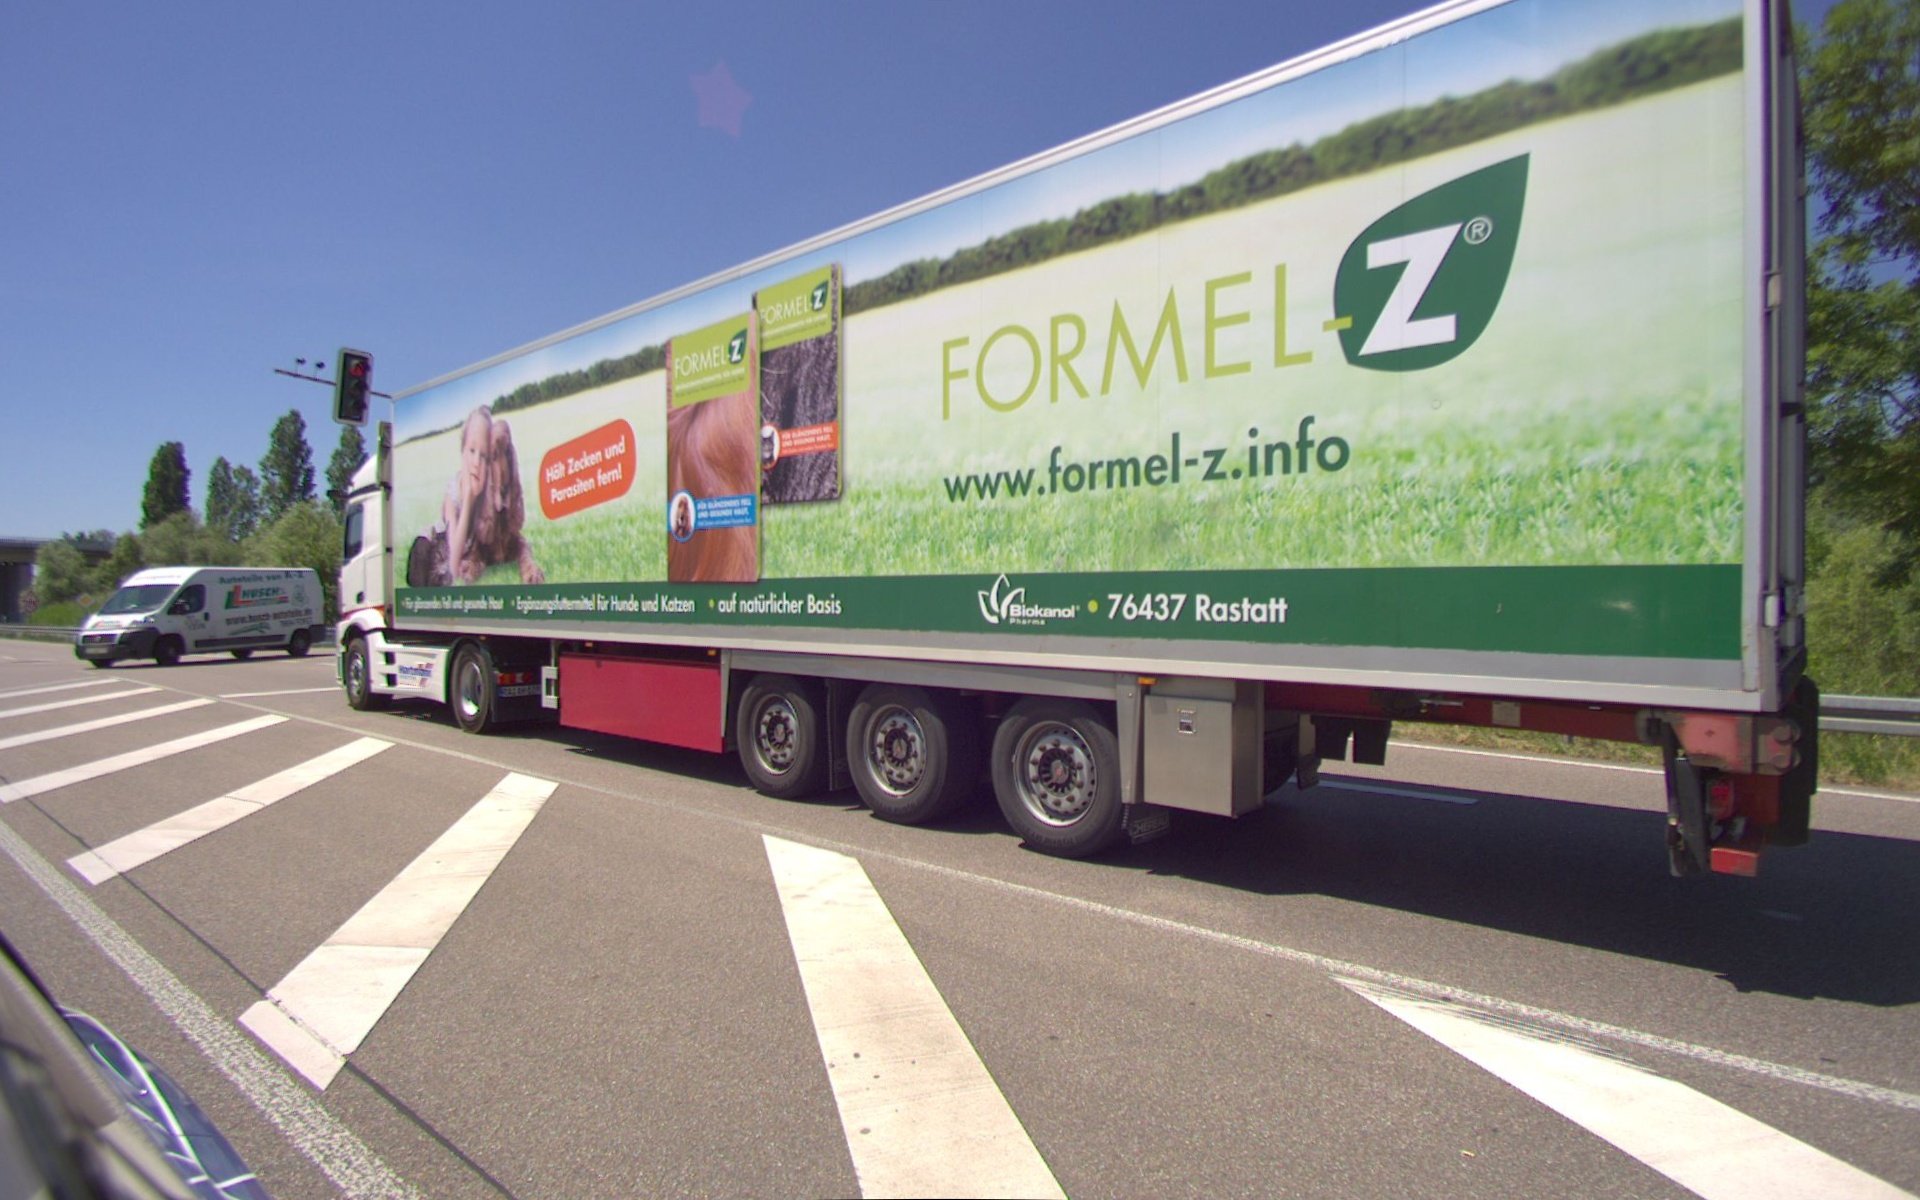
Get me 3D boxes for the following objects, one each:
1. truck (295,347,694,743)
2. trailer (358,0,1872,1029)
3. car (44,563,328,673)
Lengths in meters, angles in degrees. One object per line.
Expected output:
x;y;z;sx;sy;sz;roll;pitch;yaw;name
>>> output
-6.324;-0.562;13.358;5.823;4.075;2.661;-1;0;42;truck
-1.424;-0.602;9.030;14.120;4.075;2.661;0;0;42;trailer
-19.849;0.418;26.457;2.205;2.514;5.963;-1;0;10;car
